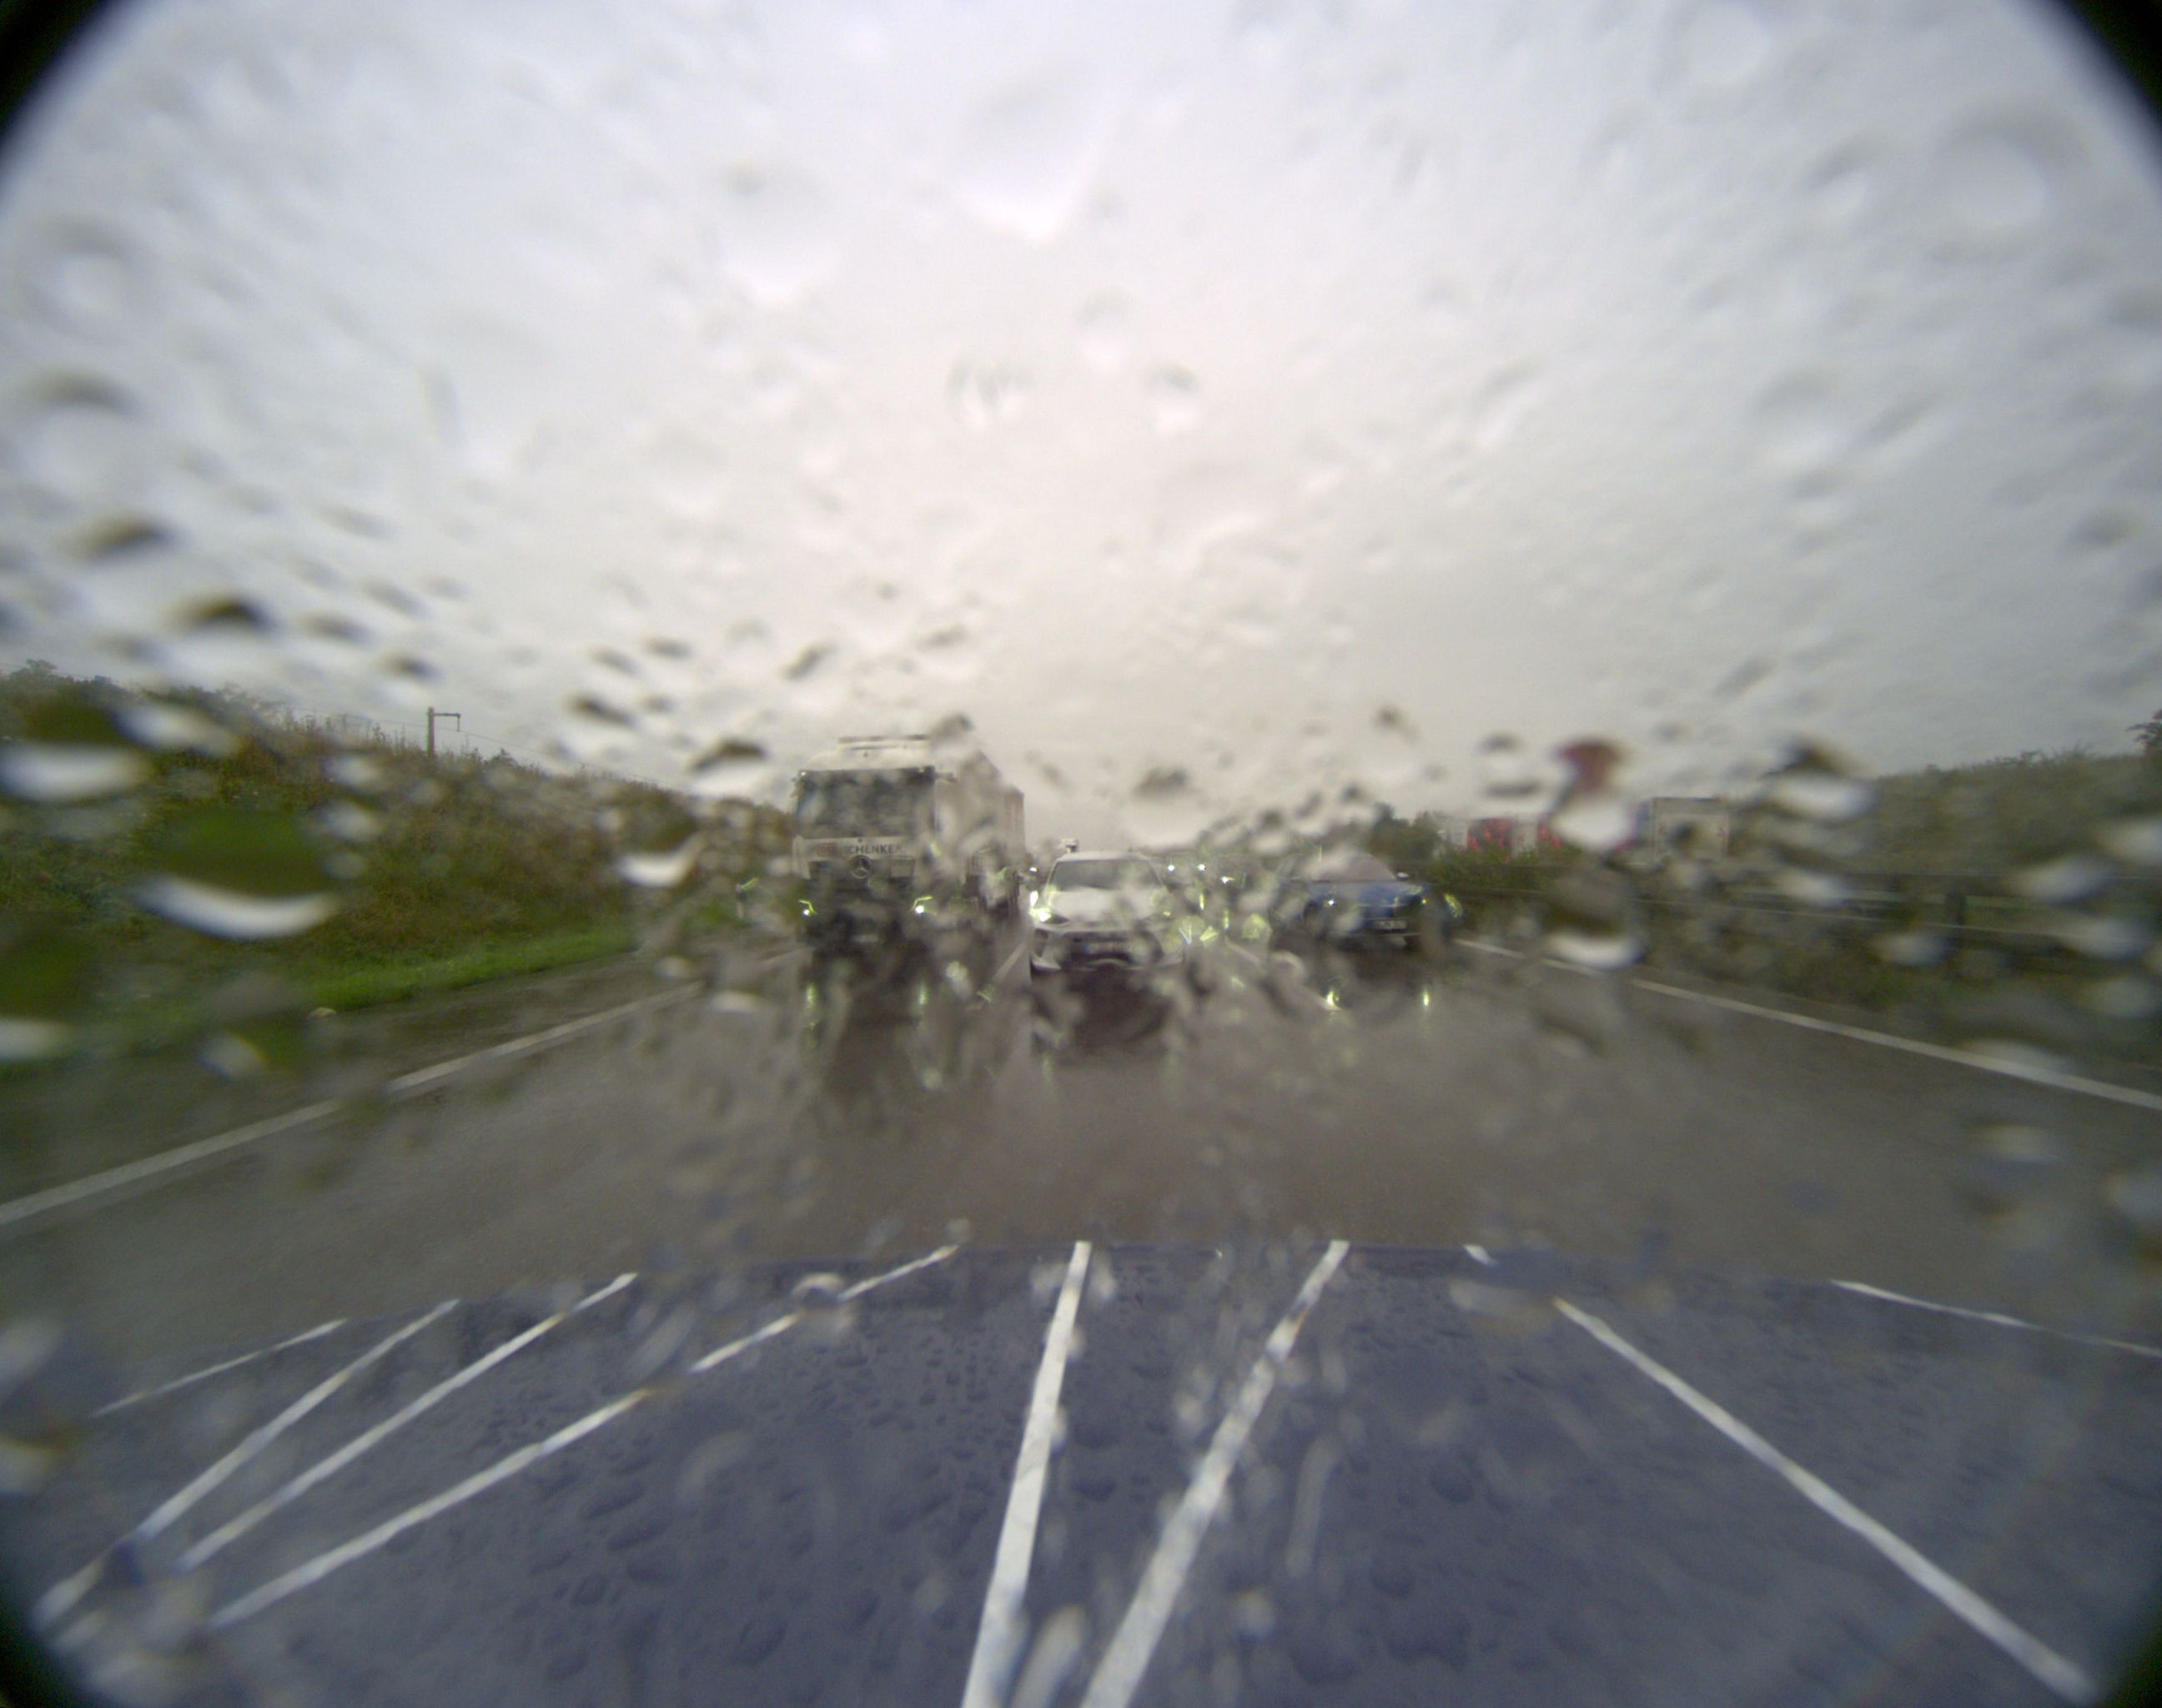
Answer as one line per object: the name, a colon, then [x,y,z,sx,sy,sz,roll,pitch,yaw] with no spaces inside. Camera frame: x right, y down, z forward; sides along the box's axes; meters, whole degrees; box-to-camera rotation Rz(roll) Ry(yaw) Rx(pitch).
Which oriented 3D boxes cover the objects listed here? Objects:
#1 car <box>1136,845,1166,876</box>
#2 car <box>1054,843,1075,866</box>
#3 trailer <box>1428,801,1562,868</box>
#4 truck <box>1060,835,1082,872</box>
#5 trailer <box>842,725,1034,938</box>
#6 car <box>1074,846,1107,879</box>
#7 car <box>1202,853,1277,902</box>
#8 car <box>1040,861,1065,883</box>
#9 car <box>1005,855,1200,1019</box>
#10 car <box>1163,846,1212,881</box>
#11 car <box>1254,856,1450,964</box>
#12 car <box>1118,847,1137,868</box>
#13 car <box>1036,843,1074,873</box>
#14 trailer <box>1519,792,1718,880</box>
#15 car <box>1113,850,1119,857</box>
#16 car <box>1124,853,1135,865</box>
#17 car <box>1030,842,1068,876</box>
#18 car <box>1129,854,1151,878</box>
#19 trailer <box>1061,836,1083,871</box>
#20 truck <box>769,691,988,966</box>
car: [4.832,0.434,52.802,1.888,2.002,4.270,-2,0,4]
car: [-1.661,0.031,78.624,1.998,2.231,4.000,-2,0,1]
trailer: [21.734,-0.937,40.639,1.998,3.064,9.554,-2,0,1]
truck: [-1.281,-0.073,99.967,2.628,4.635,4.290,-2,0,1]
trailer: [-3.341,-0.527,22.500,2.633,4.224,14.175,-2,1,1]
car: [0.653,0.503,48.455,1.998,2.002,4.000,-2,0,2]
car: [5.177,0.712,25.314,1.613,1.428,4.370,-2,0,1]
car: [-2.570,1.629,68.956,1.998,1.805,4.000,-2,0,1]
car: [0.248,0.834,9.581,1.893,1.578,4.000,-2,0,1]
car: [5.391,0.466,38.932,1.888,1.622,4.269,-2,0,1]
car: [4.357,0.797,13.040,1.790,1.467,4.512,-2,0,1]
car: [4.751,0.348,78.229,1.737,2.002,4.223,-2,0,1]
car: [-1.837,0.231,54.849,2.260,2.002,4.270,-2,1,4]
trailer: [21.592,-0.664,31.351,1.998,3.064,8.871,-2,0,1]
car: [7.903,-0.080,171.031,1.279,1.567,2.848,-2,0,1]
car: [6.443,0.676,101.231,1.458,1.540,2.804,0,2,1]
car: [-2.004,0.253,48.449,1.946,2.002,4.446,-2,1,3]
car: [5.384,1.065,69.535,1.737,2.002,4.223,-2,0,1]
trailer: [-1.157,-0.043,105.290,2.628,4.635,9.221,-2,0,1]
truck: [-3.483,-0.421,14.471,2.633,4.229,5.042,-2,1,0]
